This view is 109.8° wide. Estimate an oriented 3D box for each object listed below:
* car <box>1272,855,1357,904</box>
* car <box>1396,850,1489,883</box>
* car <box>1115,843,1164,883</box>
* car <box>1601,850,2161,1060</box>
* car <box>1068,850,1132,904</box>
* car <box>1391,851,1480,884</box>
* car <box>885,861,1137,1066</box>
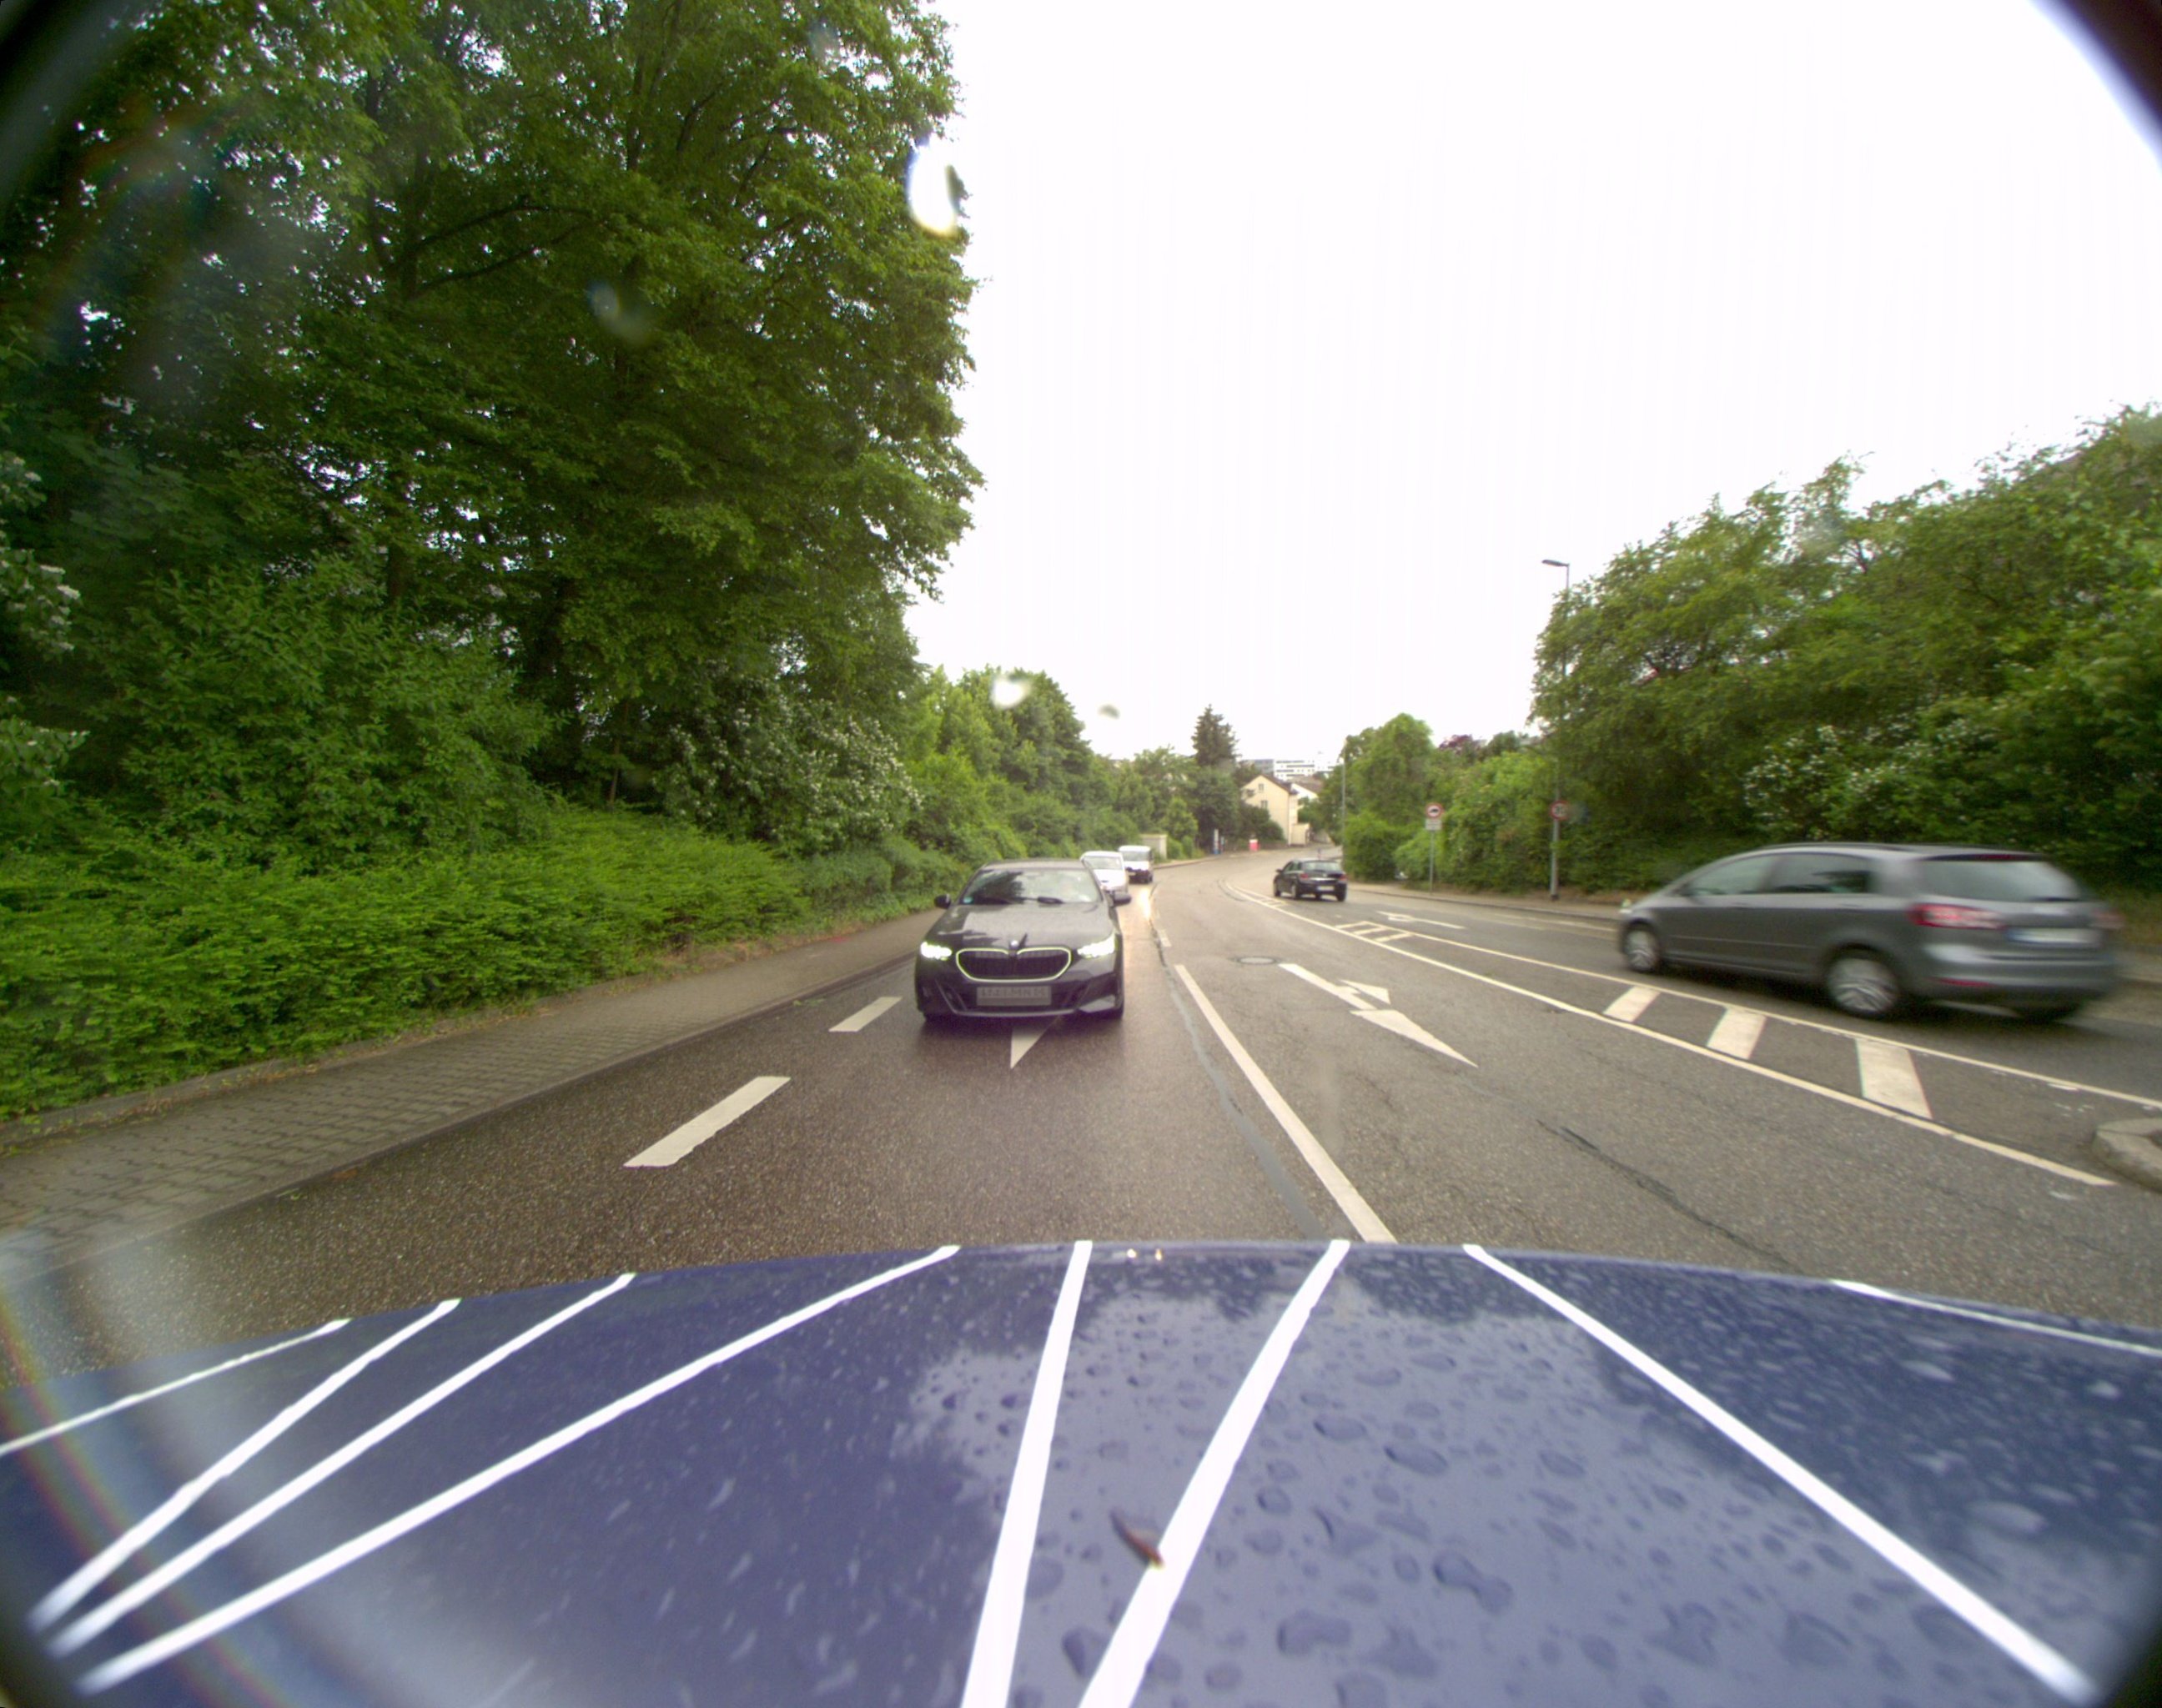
[{"bbox_3d":[7.964,0.821,26.316,1.899,1.500,4.001,1,0,3],"label":"car"},{"bbox_3d":[18.545,0.619,39.148,3.908,1.432,1.812,-4,0,9],"label":"car"},{"bbox_3d":[2.861,0.402,37.976,1.778,1.765,3.997,3,2,-5],"label":"car"},{"bbox_3d":[7.657,0.773,7.827,1.747,1.593,4.031,1,0,-1],"label":"car"},{"bbox_3d":[0.708,0.672,24.598,1.817,1.431,4.000,3,2,4],"label":"car"},{"bbox_3d":[19.453,0.740,41.859,3.995,1.527,2.001,-4,0,8],"label":"car"},{"bbox_3d":[-0.427,0.892,8.195,1.871,1.497,4.199,1,1,6],"label":"car"}]
